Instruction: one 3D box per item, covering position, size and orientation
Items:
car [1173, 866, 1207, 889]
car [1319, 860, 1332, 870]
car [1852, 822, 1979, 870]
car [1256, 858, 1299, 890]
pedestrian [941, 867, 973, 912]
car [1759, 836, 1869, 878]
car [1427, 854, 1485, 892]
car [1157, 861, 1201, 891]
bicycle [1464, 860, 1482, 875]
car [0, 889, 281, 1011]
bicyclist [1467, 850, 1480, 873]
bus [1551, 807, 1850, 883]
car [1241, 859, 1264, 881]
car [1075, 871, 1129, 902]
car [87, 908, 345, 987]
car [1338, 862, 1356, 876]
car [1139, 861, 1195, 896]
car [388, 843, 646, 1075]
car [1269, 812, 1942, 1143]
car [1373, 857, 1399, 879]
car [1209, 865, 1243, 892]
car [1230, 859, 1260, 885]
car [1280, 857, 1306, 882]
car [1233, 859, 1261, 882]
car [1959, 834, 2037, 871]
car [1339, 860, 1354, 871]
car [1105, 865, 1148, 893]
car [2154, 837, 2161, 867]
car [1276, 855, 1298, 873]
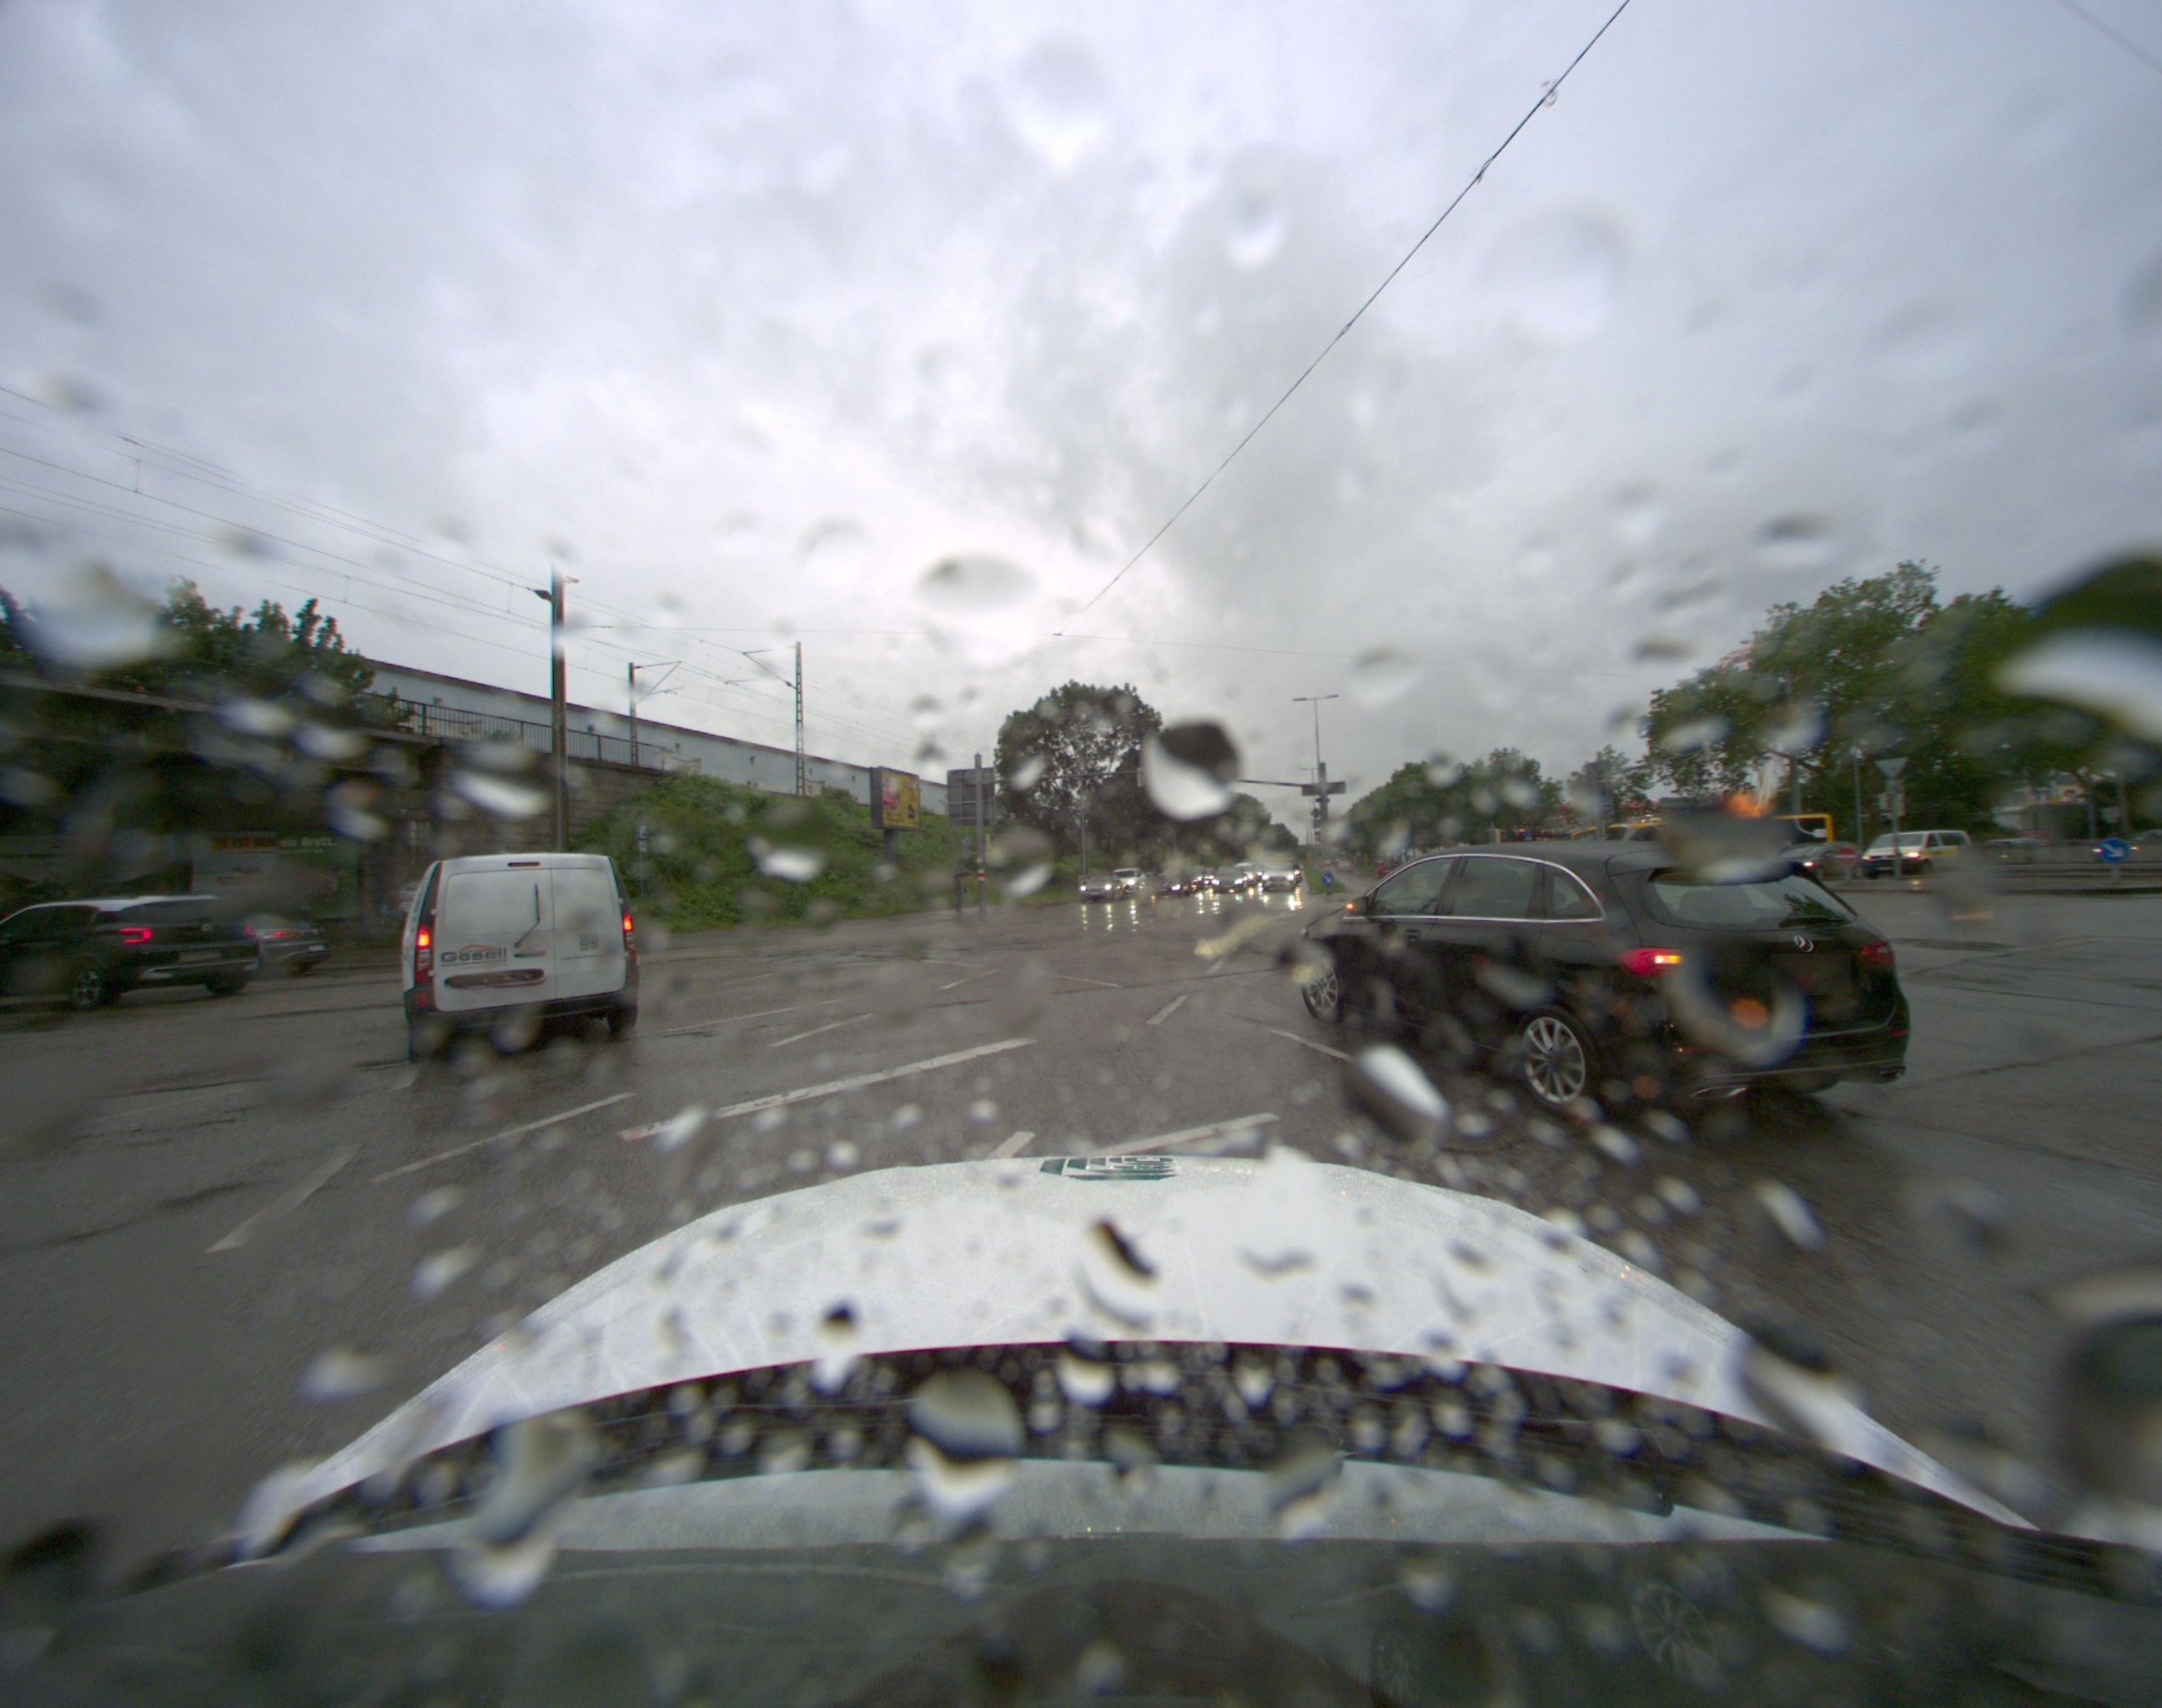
[{"bbox_3d":[7.240,1.548,53.906,1.814,1.358,4.014,-3,-1,13],"label":"car"},{"bbox_3d":[41.441,1.826,138.211,1.982,1.618,4.015,-3,-1,14],"label":"car"},{"bbox_3d":[35.405,-0.337,34.567,4.749,1.849,2.063,-2,-1,-22],"label":"car"},{"bbox_3d":[11.721,1.150,48.459,2.152,1.720,4.322,-3,-1,17],"label":"car"},{"bbox_3d":[-4.876,1.398,32.159,0.996,1.719,0.821,-2,-1,7],"label":"pedestrian"},{"bbox_3d":[32.833,0.144,36.477,4.345,1.651,1.919,-2,-1,-22],"label":"car"},{"bbox_3d":[15.959,0.786,34.812,1.666,1.491,3.635,-1,-1,15],"label":"car"},{"bbox_3d":[5.858,1.273,48.452,1.841,1.610,4.017,-3,-1,17],"label":"car"},{"bbox_3d":[33.384,1.143,69.323,0.813,1.165,2.267,-3,-1,12],"label":"bicycle"},{"bbox_3d":[-15.195,1.460,12.661,3.962,1.609,1.929,-2,-1,10],"label":"car"},{"bbox_3d":[33.360,0.642,69.296,0.762,1.882,0.624,-3,-1,11],"label":"bicyclist"},{"bbox_3d":[32.165,-0.378,43.012,12.163,3.268,3.287,-3,-1,13],"label":"bus"},{"bbox_3d":[14.525,1.310,68.872,1.642,1.720,4.016,-3,-1,14],"label":"car"},{"bbox_3d":[1.114,1.608,41.345,1.879,1.349,4.014,-3,-1,13],"label":"car"},{"bbox_3d":[-17.740,1.877,16.875,3.249,1.283,1.680,-2,-1,-11],"label":"car"},{"bbox_3d":[30.979,1.730,95.003,1.828,1.618,4.017,-1,-1,16],"label":"car"},{"bbox_3d":[4.554,1.234,42.407,2.006,1.657,4.080,-3,-1,18],"label":"car"},{"bbox_3d":[-6.041,0.892,8.512,1.771,1.777,3.952,-3,0,-41],"label":"car"},{"bbox_3d":[3.161,0.623,6.070,1.871,1.523,4.071,-2,-1,-11],"label":"car"},{"bbox_3d":[24.109,1.102,64.509,1.620,1.656,3.498,-1,0,15],"label":"car"},{"bbox_3d":[8.441,1.400,47.600,1.816,1.358,4.010,-3,-1,9],"label":"car"},{"bbox_3d":[11.731,1.257,57.991,1.851,1.720,4.015,-3,-1,14],"label":"car"},{"bbox_3d":[15.406,1.096,59.325,1.589,1.720,4.013,-3,-1,12],"label":"car"},{"bbox_3d":[13.110,1.278,64.185,1.831,1.720,4.016,-3,-1,15],"label":"car"},{"bbox_3d":[47.654,-0.076,42.321,4.012,1.754,1.872,-2,-1,-30],"label":"car"},{"bbox_3d":[39.540,1.690,121.190,1.981,1.618,4.017,-3,-1,17],"label":"car"},{"bbox_3d":[2.709,1.414,47.296,1.815,1.482,4.013,-3,-1,12],"label":"car"},{"bbox_3d":[69.261,-0.214,50.614,4.754,1.849,2.061,-2,-1,-25],"label":"car"},{"bbox_3d":[20.193,0.975,79.965,1.925,1.720,4.013,-3,-1,12],"label":"car"}]
